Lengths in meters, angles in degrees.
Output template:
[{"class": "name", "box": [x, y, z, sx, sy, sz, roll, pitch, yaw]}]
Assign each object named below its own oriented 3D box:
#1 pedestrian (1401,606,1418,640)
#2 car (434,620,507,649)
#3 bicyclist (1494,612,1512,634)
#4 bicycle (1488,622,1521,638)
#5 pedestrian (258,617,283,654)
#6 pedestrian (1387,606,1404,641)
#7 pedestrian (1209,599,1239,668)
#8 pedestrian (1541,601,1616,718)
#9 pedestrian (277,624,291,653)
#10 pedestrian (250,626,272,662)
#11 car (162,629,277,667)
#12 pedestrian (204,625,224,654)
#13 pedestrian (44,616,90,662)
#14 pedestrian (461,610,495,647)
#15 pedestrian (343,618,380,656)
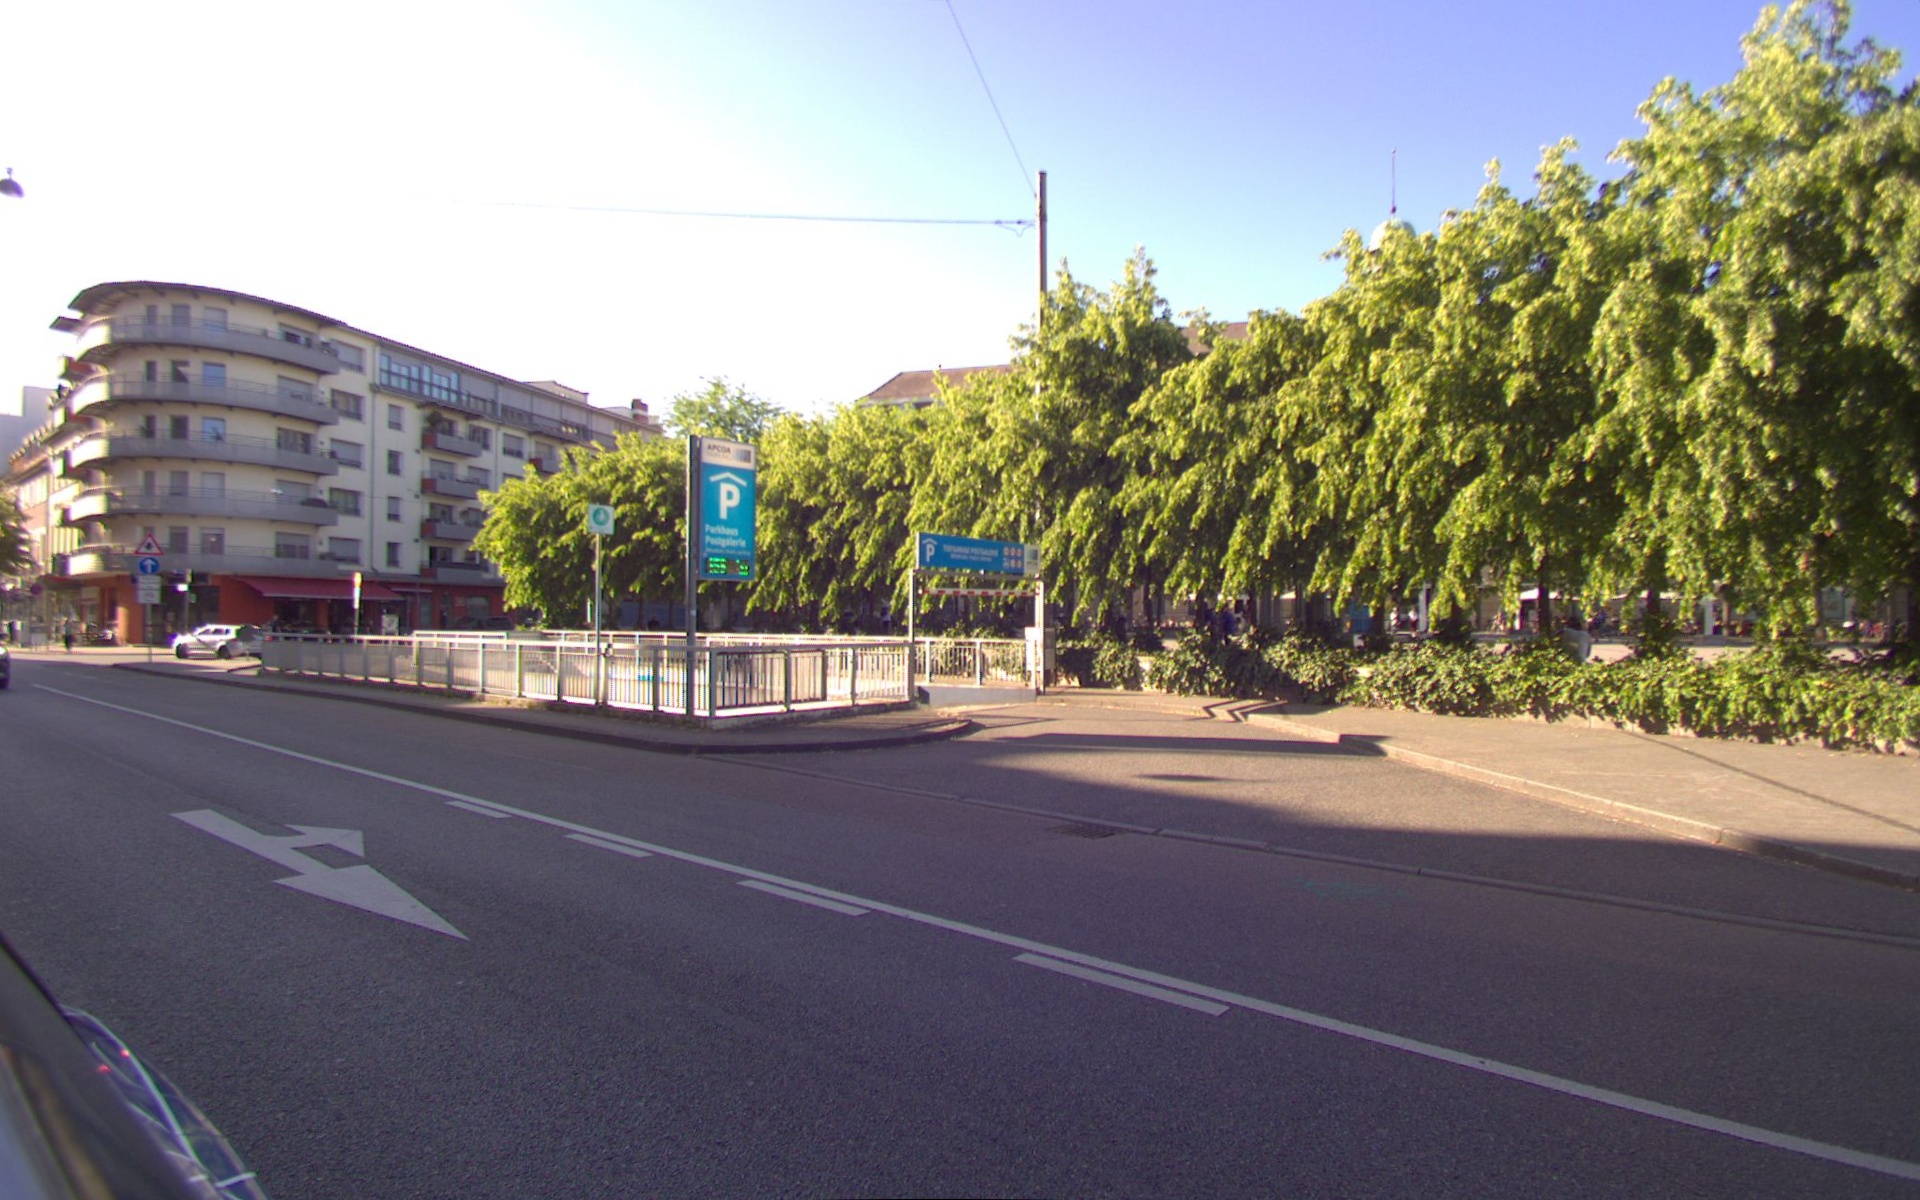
[{"class": "pedestrian", "box": [25.524, 1.303, 57.469, 0.751, 1.948, 0.938, -1, -1, 20]}, {"class": "car", "box": [-30.526, 2.131, 63.209, 1.983, 1.763, 3.977, -1, -1, 17]}, {"class": "bicyclist", "box": [35.174, 1.482, 65.552, 0.687, 1.439, 0.674, 0, -1, -7]}, {"class": "bicycle", "box": [35.260, 1.940, 65.554, 1.878, 0.961, 0.590, -1, -1, -5]}, {"class": "pedestrian", "box": [-34.123, 1.741, 50.105, 0.746, 1.819, 0.755, -1, -1, -1]}, {"class": "pedestrian", "box": [24.794, 1.325, 57.616, 0.751, 1.948, 0.938, -1, -1, 20]}, {"class": "pedestrian", "box": [6.557, 0.827, 25.165, 0.672, 1.683, 0.843, -1, -1, 13]}, {"class": "pedestrian", "box": [9.766, 0.912, 15.981, 0.885, 1.771, 0.738, 0, -1, -39]}, {"class": "pedestrian", "box": [-35.316, 2.022, 52.897, 0.573, 1.501, 0.794, 0, -1, -36]}, {"class": "pedestrian", "box": [-34.061, 2.143, 49.295, 0.697, 1.719, 0.667, -1, -1, 33]}, {"class": "car", "box": [-29.962, 1.903, 40.950, 4.221, 1.445, 1.791, -1, -1, 21]}, {"class": "pedestrian", "box": [-37.739, 1.989, 51.207, 0.780, 1.472, 0.583, 0, -1, -40]}, {"class": "pedestrian", "box": [-40.756, 1.759, 46.201, 1.008, 2.029, 1.198, -1, 0, 4]}, {"class": "pedestrian", "box": [-26.542, 1.546, 55.732, 1.294, 2.029, 1.302, -1, -1, 39]}, {"class": "pedestrian", "box": [-32.813, 2.007, 55.477, 1.251, 2.029, 1.226, -1, -1, 19]}]
